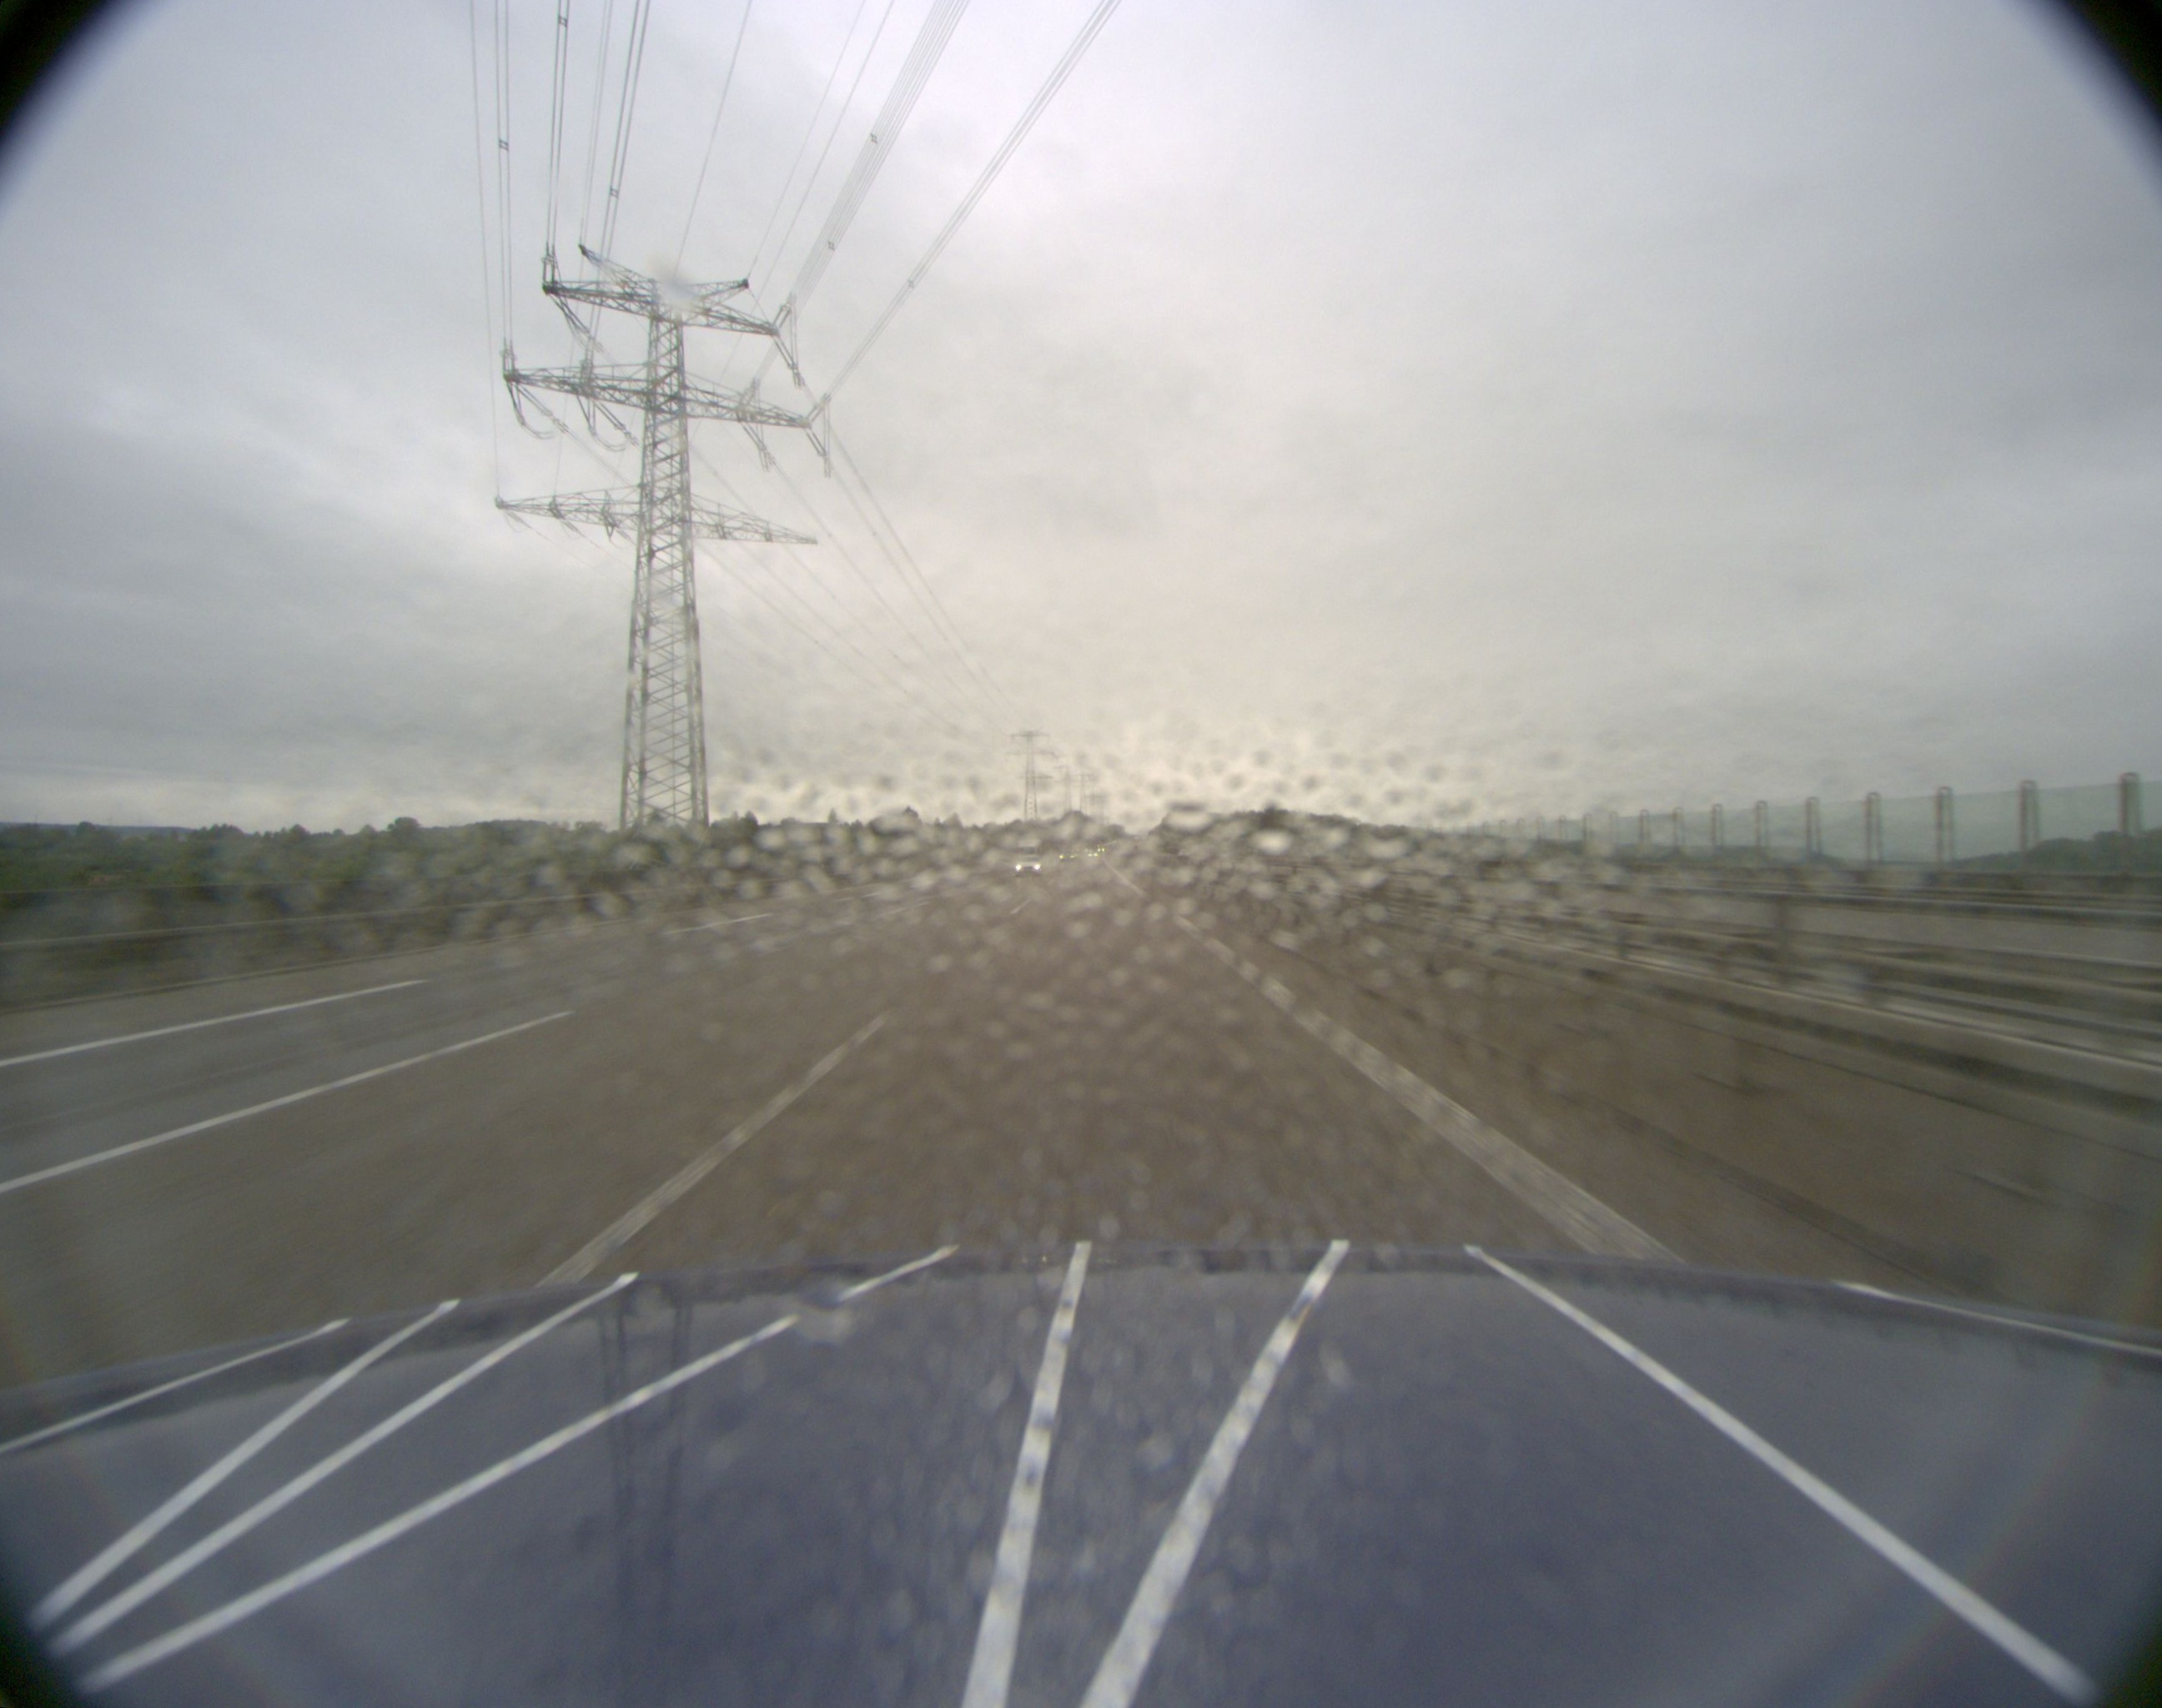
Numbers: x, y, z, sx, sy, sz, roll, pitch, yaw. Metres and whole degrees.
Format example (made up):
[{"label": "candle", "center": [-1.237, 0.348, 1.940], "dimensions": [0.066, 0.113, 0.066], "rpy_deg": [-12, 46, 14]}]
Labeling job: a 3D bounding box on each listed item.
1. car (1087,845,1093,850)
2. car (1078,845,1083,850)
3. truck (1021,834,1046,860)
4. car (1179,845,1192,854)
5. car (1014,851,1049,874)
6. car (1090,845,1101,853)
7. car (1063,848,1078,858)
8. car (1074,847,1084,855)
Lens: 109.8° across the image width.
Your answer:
[{"label": "car", "center": [3.108, -2.246, 263.641], "dimensions": [1.998, 1.418, 4.000], "rpy_deg": [-2, 1, 2]}, {"label": "car", "center": [-0.132, -2.168, 261.608], "dimensions": [1.783, 1.482, 4.000], "rpy_deg": [-2, 1, 2]}, {"label": "truck", "center": [-6.254, -0.950, 100.880], "dimensions": [2.649, 3.325, 6.930], "rpy_deg": [-2, 1, 2]}, {"label": "car", "center": [19.704, -0.928, 143.453], "dimensions": [1.998, 1.620, 4.713], "rpy_deg": [-1, 1, 1]}, {"label": "car", "center": [-3.431, 0.586, 53.304], "dimensions": [1.998, 1.418, 4.000], "rpy_deg": [-2, 1, 2]}, {"label": "car", "center": [2.842, -0.919, 147.138], "dimensions": [1.998, 1.418, 4.000], "rpy_deg": [-2, 1, 2]}, {"label": "car", "center": [-1.493, -0.150, 113.279], "dimensions": [1.998, 1.418, 4.000], "rpy_deg": [-2, 1, 2]}, {"label": "car", "center": [-0.409, -0.617, 156.567], "dimensions": [1.856, 1.418, 4.000], "rpy_deg": [-2, 1, 2]}]
